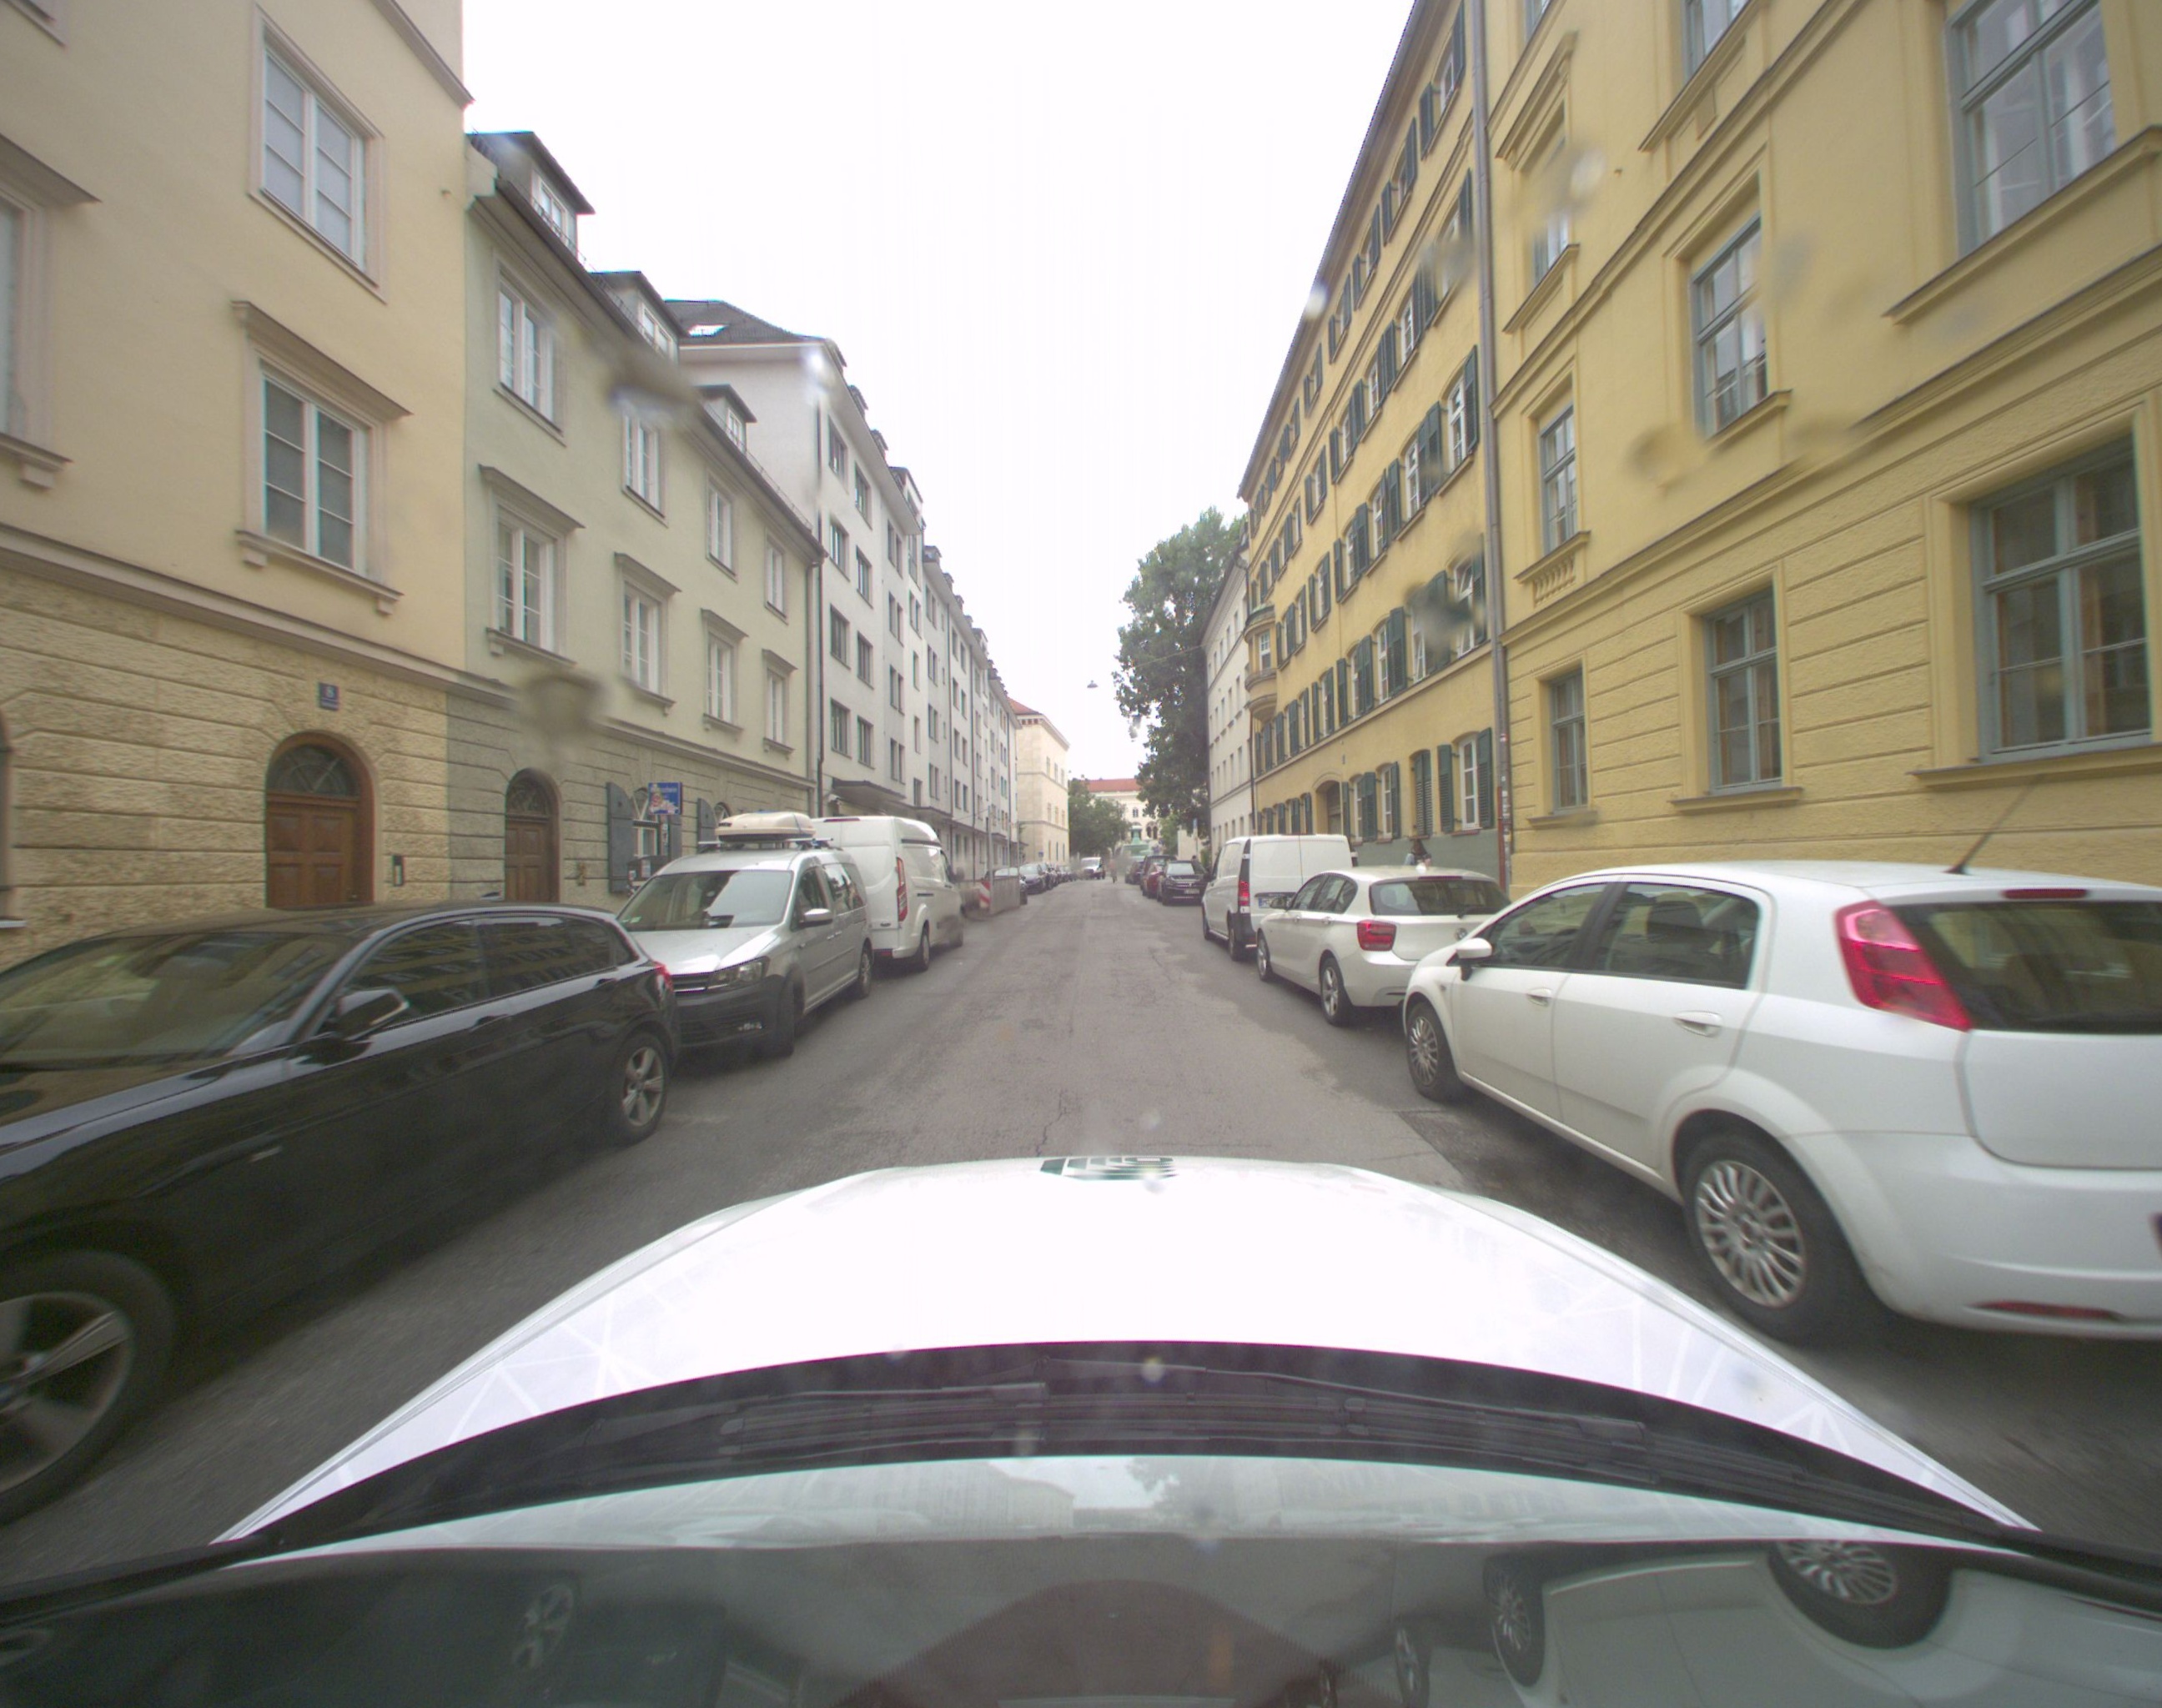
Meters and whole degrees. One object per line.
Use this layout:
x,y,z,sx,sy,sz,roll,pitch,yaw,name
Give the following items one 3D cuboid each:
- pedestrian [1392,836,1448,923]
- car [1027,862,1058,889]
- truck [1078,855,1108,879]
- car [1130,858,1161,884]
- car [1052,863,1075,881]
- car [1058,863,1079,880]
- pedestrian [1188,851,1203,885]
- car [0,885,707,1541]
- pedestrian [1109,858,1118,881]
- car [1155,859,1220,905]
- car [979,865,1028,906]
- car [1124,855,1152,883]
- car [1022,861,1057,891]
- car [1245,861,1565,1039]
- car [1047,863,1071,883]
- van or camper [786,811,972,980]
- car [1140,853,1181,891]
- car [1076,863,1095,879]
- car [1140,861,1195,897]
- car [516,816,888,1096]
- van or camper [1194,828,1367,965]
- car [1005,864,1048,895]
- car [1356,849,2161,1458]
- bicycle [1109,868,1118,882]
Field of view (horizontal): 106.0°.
6.389,0.477,15.363,0.658,1.571,0.642,-5,-2,1,pedestrian
-2.482,1.349,52.901,1.701,1.609,3.863,-3,-1,1,car
1.234,1.315,82.289,2.108,2.247,6.200,-2,-2,9,truck
4.310,1.136,54.917,1.805,1.614,4.157,-2,-1,2,car
-1.576,1.651,75.476,1.699,1.609,3.866,-3,-1,4,car
-1.207,1.769,81.532,1.699,1.581,3.867,-3,-1,4,car
6.947,0.862,49.390,0.667,1.980,0.709,-5,-2,2,pedestrian
-3.354,0.903,3.289,1.749,1.409,4.102,-1,-1,0,car
2.463,1.163,62.019,0.639,1.714,0.843,-2,-2,2,pedestrian
3.648,0.945,28.590,1.805,1.465,4.247,-1,-1,1,car
-3.060,1.204,32.201,1.759,1.410,4.146,-3,-1,-6,car
4.202,1.090,60.777,1.844,1.919,4.771,-2,-1,2,car
-2.393,1.264,47.600,1.701,1.609,3.863,-3,-1,1,car
3.058,0.801,8.717,1.703,1.392,4.205,-1,-1,-1,car
-1.898,1.591,70.464,1.699,1.609,3.866,-3,-1,3,car
-3.123,0.597,13.795,1.749,2.281,5.273,-1,-1,1,van or camper
3.943,0.871,40.829,1.805,1.797,4.248,-1,-1,2,car
0.523,1.850,90.077,1.699,1.581,3.867,-3,-1,4,car
3.533,1.006,33.936,1.806,1.425,4.245,0,-1,0,car
-3.304,0.764,8.258,1.750,1.995,4.620,-1,-1,-3,car
3.138,0.620,13.947,1.827,1.872,5.080,-1,-1,2,van or camper
-2.741,1.257,41.779,1.811,1.444,3.818,-3,-1,1,car
2.938,0.745,4.059,1.703,1.454,4.095,-1,-1,-1,car
2.468,1.599,62.006,0.673,1.095,1.761,-2,-2,2,bicycle
